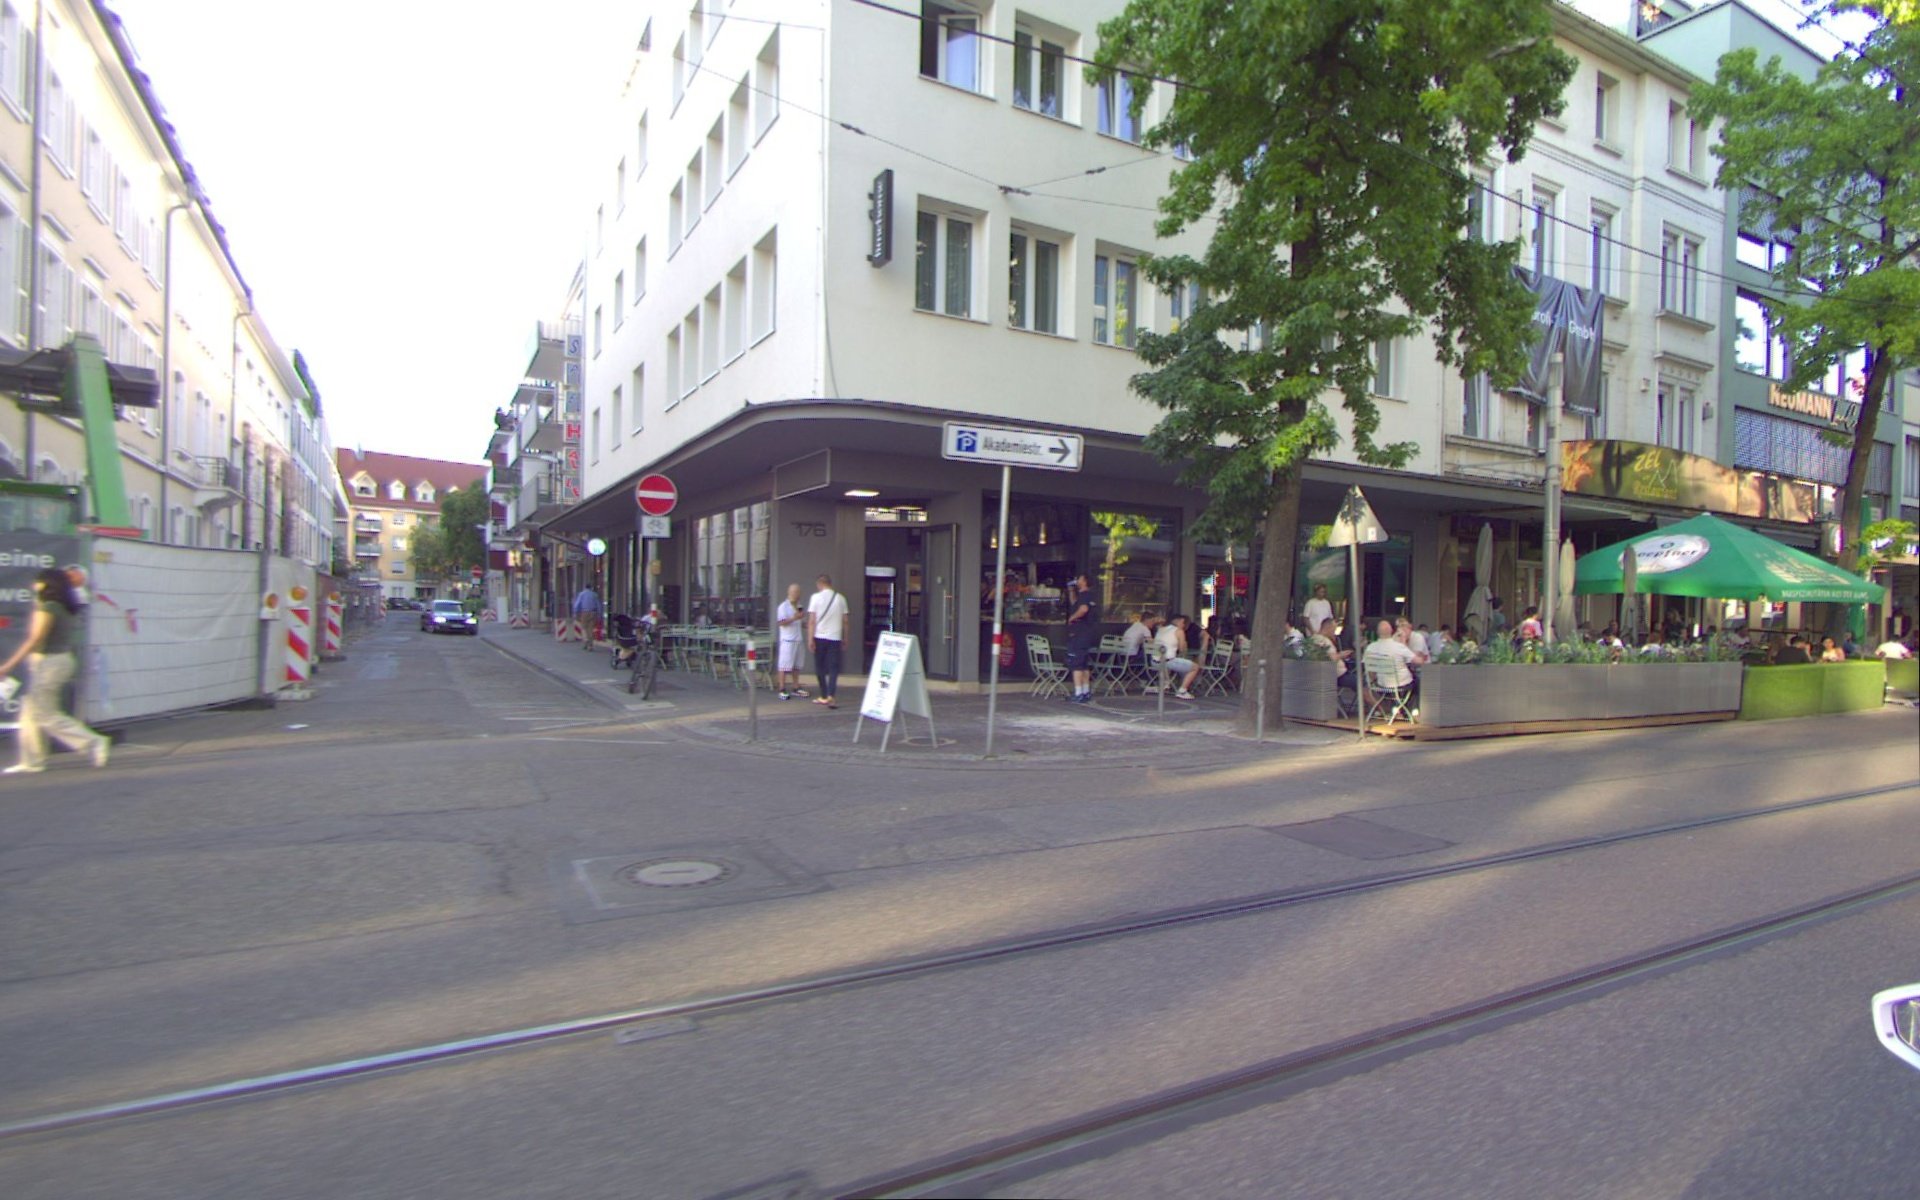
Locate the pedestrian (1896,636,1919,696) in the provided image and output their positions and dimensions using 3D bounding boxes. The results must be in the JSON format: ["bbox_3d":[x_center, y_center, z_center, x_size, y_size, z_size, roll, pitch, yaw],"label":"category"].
[{"bbox_3d":[21.315,1.460,22.190,0.862,1.261,0.653,1,3,-30],"label":"pedestrian"}]

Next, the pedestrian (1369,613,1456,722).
[{"bbox_3d":[6.142,0.894,13.637,0.797,1.405,0.686,1,2,-29],"label":"pedestrian"}]

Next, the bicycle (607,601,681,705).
[{"bbox_3d":[-4.689,0.725,14.807,0.703,1.399,1.867,-2,1,-27],"label":"bicycle"}]

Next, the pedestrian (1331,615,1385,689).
[{"bbox_3d":[7.380,0.957,18.620,0.678,1.316,0.599,1,2,-29],"label":"pedestrian"}]

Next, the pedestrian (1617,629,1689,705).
[{"bbox_3d":[12.342,1.183,17.896,0.857,1.276,0.705,1,2,-27],"label":"pedestrian"}]

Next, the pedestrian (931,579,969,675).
[{"bbox_3d":[-0.168,0.458,17.372,0.608,1.625,0.405,1,0,4],"label":"pedestrian"}]

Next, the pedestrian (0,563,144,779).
[{"bbox_3d":[-7.403,0.553,8.247,0.955,1.678,0.704,0,0,-28],"label":"pedestrian"}]

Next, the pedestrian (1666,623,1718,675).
[{"bbox_3d":[17.850,1.185,24.494,0.779,1.184,0.696,1,3,-30],"label":"pedestrian"}]

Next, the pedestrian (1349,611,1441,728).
[{"bbox_3d":[5.528,0.865,12.776,0.797,1.405,0.686,1,2,-29],"label":"pedestrian"}]

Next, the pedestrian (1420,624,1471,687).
[{"bbox_3d":[9.344,1.058,19.326,0.678,1.177,0.550,1,2,-29],"label":"pedestrian"}]

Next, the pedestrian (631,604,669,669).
[{"bbox_3d":[-6.660,0.767,21.585,0.611,1.353,0.768,-1,1,-31],"label":"pedestrian"}]

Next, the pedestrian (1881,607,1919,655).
[{"bbox_3d":[30.650,0.994,32.685,0.756,1.486,0.765,1,3,-32],"label":"pedestrian"}]

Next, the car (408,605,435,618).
[{"bbox_3d":[-63.132,1.334,117.644,1.984,1.372,3.952,1,0,-41],"label":"car"}]

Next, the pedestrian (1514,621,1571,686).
[{"bbox_3d":[11.915,1.082,20.564,0.789,1.259,0.666,1,2,-30],"label":"pedestrian"}]

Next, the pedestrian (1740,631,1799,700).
[{"bbox_3d":[15.691,1.259,19.481,0.689,1.262,0.616,1,3,-30],"label":"pedestrian"}]

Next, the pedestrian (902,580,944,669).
[{"bbox_3d":[-0.700,0.453,18.911,0.492,1.625,0.619,1,0,35],"label":"pedestrian"}]

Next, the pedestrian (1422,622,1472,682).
[{"bbox_3d":[9.931,1.057,20.471,0.678,1.174,0.599,1,2,-29],"label":"pedestrian"}]

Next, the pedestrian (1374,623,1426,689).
[{"bbox_3d":[8.198,1.034,18.730,0.678,1.177,0.550,1,2,-29],"label":"pedestrian"}]

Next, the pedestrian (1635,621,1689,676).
[{"bbox_3d":[16.616,1.146,23.782,0.779,1.230,0.733,1,3,-30],"label":"pedestrian"}]

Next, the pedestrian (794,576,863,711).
[{"bbox_3d":[-1.797,0.572,13.683,0.851,1.764,0.796,0,0,-14],"label":"pedestrian"}]

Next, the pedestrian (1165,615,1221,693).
[{"bbox_3d":[3.889,0.892,16.778,0.678,1.252,0.550,1,2,-29],"label":"pedestrian"}]

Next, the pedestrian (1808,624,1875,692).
[{"bbox_3d":[18.661,1.217,21.266,0.862,1.361,0.750,1,3,-30],"label":"pedestrian"}]

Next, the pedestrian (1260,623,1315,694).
[{"bbox_3d":[5.651,0.997,17.356,0.678,1.177,0.550,1,2,-29],"label":"pedestrian"}]

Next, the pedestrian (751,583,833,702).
[{"bbox_3d":[-2.408,0.573,14.435,0.787,1.636,0.860,1,2,44],"label":"pedestrian"}]

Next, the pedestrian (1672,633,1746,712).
[{"bbox_3d":[12.729,1.218,17.086,0.762,1.276,0.705,1,2,-27],"label":"pedestrian"}]

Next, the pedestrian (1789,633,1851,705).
[{"bbox_3d":[16.081,1.276,18.779,0.689,1.262,0.616,1,3,-30],"label":"pedestrian"}]

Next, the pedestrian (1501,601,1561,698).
[{"bbox_3d":[10.249,0.873,18.041,0.689,1.693,0.616,1,2,-30],"label":"pedestrian"}]

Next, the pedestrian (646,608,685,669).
[{"bbox_3d":[-6.040,0.781,20.594,0.611,1.218,0.687,-1,0,-31],"label":"pedestrian"}]

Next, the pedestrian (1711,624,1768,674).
[{"bbox_3d":[20.006,1.242,25.778,1.052,1.204,0.749,1,3,-30],"label":"pedestrian"}]

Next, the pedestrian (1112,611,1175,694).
[{"bbox_3d":[2.989,0.843,16.389,0.729,1.286,0.642,1,2,-29],"label":"pedestrian"}]

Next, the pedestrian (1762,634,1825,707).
[{"bbox_3d":[15.248,1.271,18.374,0.689,1.262,0.616,1,3,-30],"label":"pedestrian"}]

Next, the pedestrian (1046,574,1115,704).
[{"bbox_3d":[1.751,0.554,14.701,0.751,1.840,0.685,1,1,-14],"label":"pedestrian"}]

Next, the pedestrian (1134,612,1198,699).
[{"bbox_3d":[3.237,0.862,15.773,0.719,1.299,0.624,1,2,-29],"label":"pedestrian"}]

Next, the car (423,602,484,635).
[{"bbox_3d":[-23.024,0.815,45.602,1.980,1.372,3.961,1,0,-34],"label":"car"}]

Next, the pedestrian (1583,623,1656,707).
[{"bbox_3d":[11.262,1.099,17.160,0.771,1.365,0.705,1,2,-27],"label":"pedestrian"}]

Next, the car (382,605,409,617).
[{"bbox_3d":[-65.124,1.267,115.787,1.984,1.372,3.952,1,0,-41],"label":"car"}]

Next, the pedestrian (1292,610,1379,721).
[{"bbox_3d":[5.031,0.857,13.471,0.797,1.405,0.686,1,2,-29],"label":"pedestrian"}]

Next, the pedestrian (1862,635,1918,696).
[{"bbox_3d":[21.106,1.473,22.793,0.788,1.311,0.653,1,3,-30],"label":"pedestrian"}]

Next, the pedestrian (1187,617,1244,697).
[{"bbox_3d":[4.140,0.913,16.285,0.678,1.252,0.550,1,2,-29],"label":"pedestrian"}]

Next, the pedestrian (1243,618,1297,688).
[{"bbox_3d":[5.477,0.931,17.759,0.678,1.177,0.550,1,2,-29],"label":"pedestrian"}]

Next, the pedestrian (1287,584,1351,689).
[{"bbox_3d":[6.372,0.639,17.842,0.746,1.816,0.685,1,1,-14],"label":"pedestrian"}]

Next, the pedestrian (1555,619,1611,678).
[{"bbox_3d":[13.874,1.068,22.375,0.779,1.248,0.733,1,3,-30],"label":"pedestrian"}]

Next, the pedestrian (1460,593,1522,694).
[{"bbox_3d":[9.726,0.788,18.394,0.688,1.780,0.675,1,2,-28],"label":"pedestrian"}]

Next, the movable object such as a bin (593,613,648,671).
[{"bbox_3d":[-6.985,0.848,20.642,0.846,1.129,1.108,-1,1,-31],"label":"movable object such as a bin"}]

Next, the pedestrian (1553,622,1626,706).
[{"bbox_3d":[10.497,1.056,16.756,0.797,1.329,0.686,1,2,-29],"label":"pedestrian"}]

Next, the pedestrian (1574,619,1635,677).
[{"bbox_3d":[14.756,1.084,23.003,0.934,1.254,0.773,1,3,-30],"label":"pedestrian"}]

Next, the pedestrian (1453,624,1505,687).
[{"bbox_3d":[10.271,1.085,19.896,0.678,1.190,0.599,1,2,-29],"label":"pedestrian"}]

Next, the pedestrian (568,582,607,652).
[{"bbox_3d":[-10.212,0.475,27.528,0.920,1.879,0.812,1,0,-26],"label":"pedestrian"}]

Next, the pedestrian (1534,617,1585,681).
[{"bbox_3d":[13.079,1.054,21.920,0.689,1.327,0.616,1,3,-30],"label":"pedestrian"}]
